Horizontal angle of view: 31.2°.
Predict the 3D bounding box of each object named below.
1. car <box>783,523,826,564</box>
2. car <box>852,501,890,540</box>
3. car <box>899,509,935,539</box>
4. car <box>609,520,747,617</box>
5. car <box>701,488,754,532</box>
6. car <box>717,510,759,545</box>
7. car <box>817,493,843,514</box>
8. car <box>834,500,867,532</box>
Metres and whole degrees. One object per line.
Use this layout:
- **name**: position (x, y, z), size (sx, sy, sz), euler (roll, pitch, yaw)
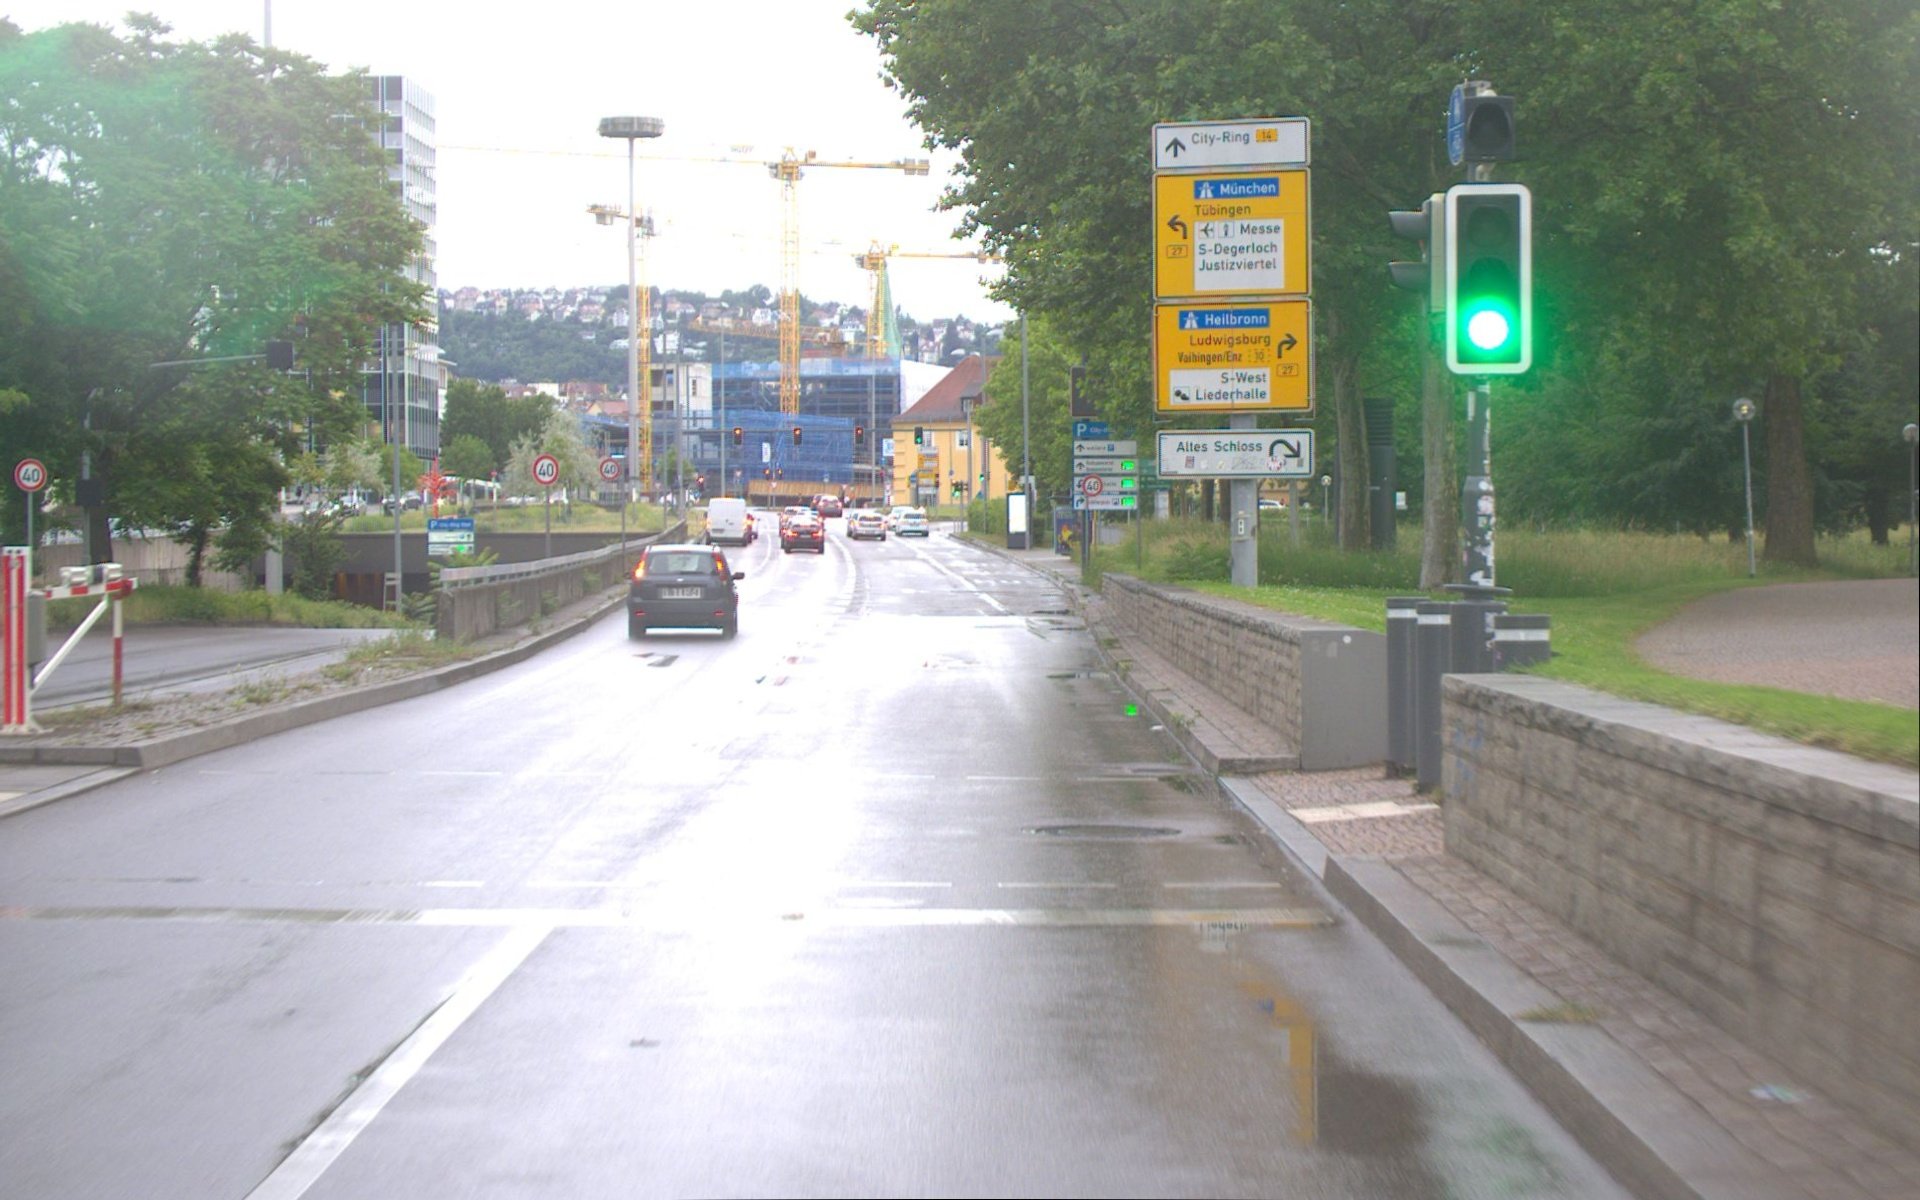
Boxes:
- **car**: position (-7.142, -2.589, 157.996), size (1.739, 1.765, 4.000), euler (-2, 0, 0)
- **car**: position (-4.828, -4.305, 187.066), size (1.987, 2.007, 4.000), euler (-2, 0, -2)
- **car**: position (-2.474, -4.389, 198.969), size (1.993, 1.594, 4.000), euler (-2, 0, 0)
- **car**: position (-4.431, -0.477, 53.631), size (1.843, 1.411, 3.840), euler (-2, 0, -9)
- **car**: position (-11.365, -4.386, 168.239), size (2.220, 2.007, 4.000), euler (-2, 0, 0)
- **car**: position (-11.984, -3.935, 185.804), size (1.993, 1.776, 4.000), euler (-2, 0, 0)
- **car**: position (-9.589, -7.120, 253.755), size (1.721, 1.552, 3.584), euler (0, 1, 0)
- **car**: position (-6.129, -4.713, 192.509), size (1.713, 1.684, 3.849), euler (-2, 0, 0)
